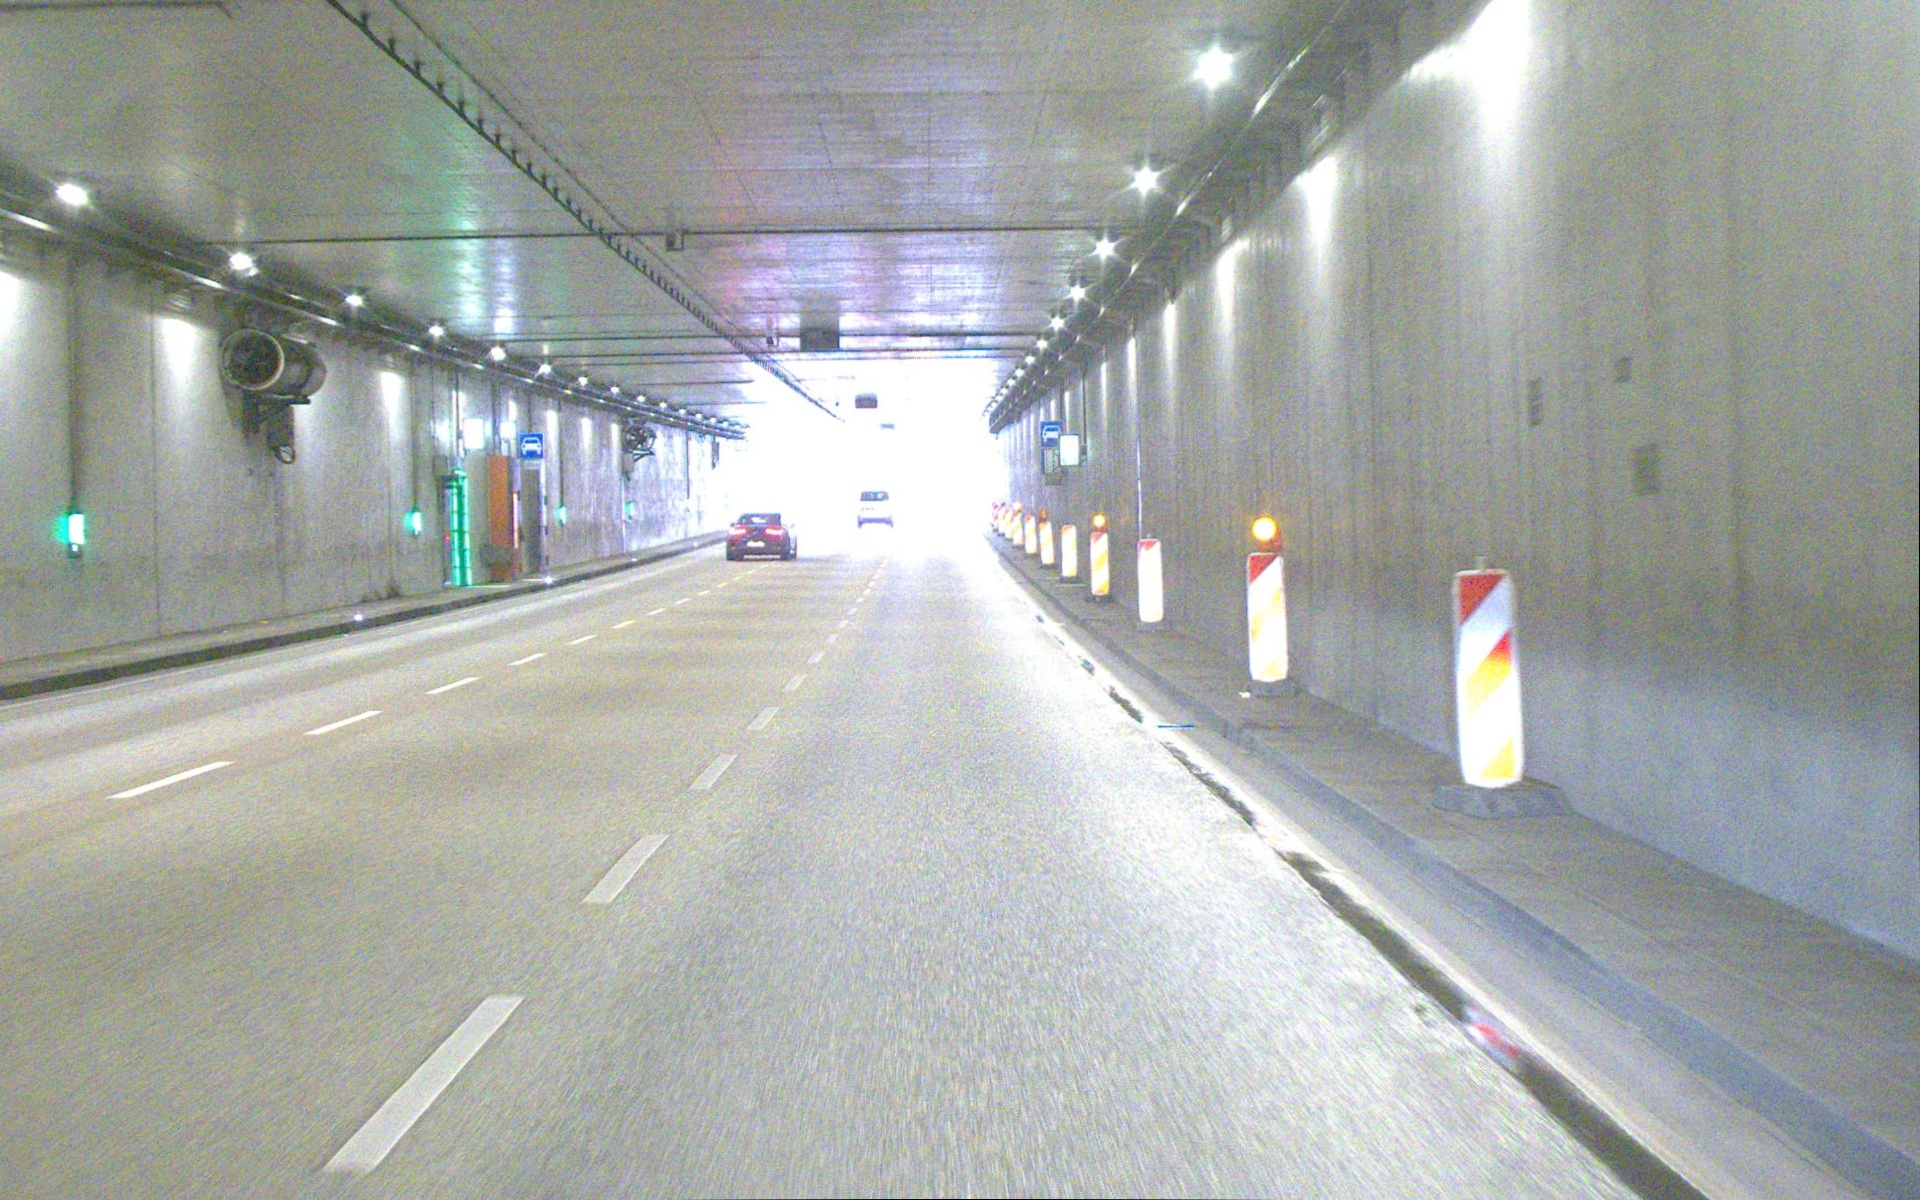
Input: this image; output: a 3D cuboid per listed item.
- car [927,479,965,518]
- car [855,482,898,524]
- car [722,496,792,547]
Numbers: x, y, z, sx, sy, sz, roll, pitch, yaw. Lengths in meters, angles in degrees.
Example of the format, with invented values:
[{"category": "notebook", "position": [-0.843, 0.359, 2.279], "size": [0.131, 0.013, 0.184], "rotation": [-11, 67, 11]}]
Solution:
[{"category": "car", "position": [-0.767, -5.431, 184.527], "size": [1.993, 2.007, 4.000], "rotation": [0, 1, 0]}, {"category": "car", "position": [-4.097, -4.780, 169.212], "size": [1.993, 2.007, 4.000], "rotation": [0, 1, 0]}, {"category": "car", "position": [-6.054, -2.329, 102.042], "size": [1.993, 1.443, 4.315], "rotation": [1, 1, -4]}]
